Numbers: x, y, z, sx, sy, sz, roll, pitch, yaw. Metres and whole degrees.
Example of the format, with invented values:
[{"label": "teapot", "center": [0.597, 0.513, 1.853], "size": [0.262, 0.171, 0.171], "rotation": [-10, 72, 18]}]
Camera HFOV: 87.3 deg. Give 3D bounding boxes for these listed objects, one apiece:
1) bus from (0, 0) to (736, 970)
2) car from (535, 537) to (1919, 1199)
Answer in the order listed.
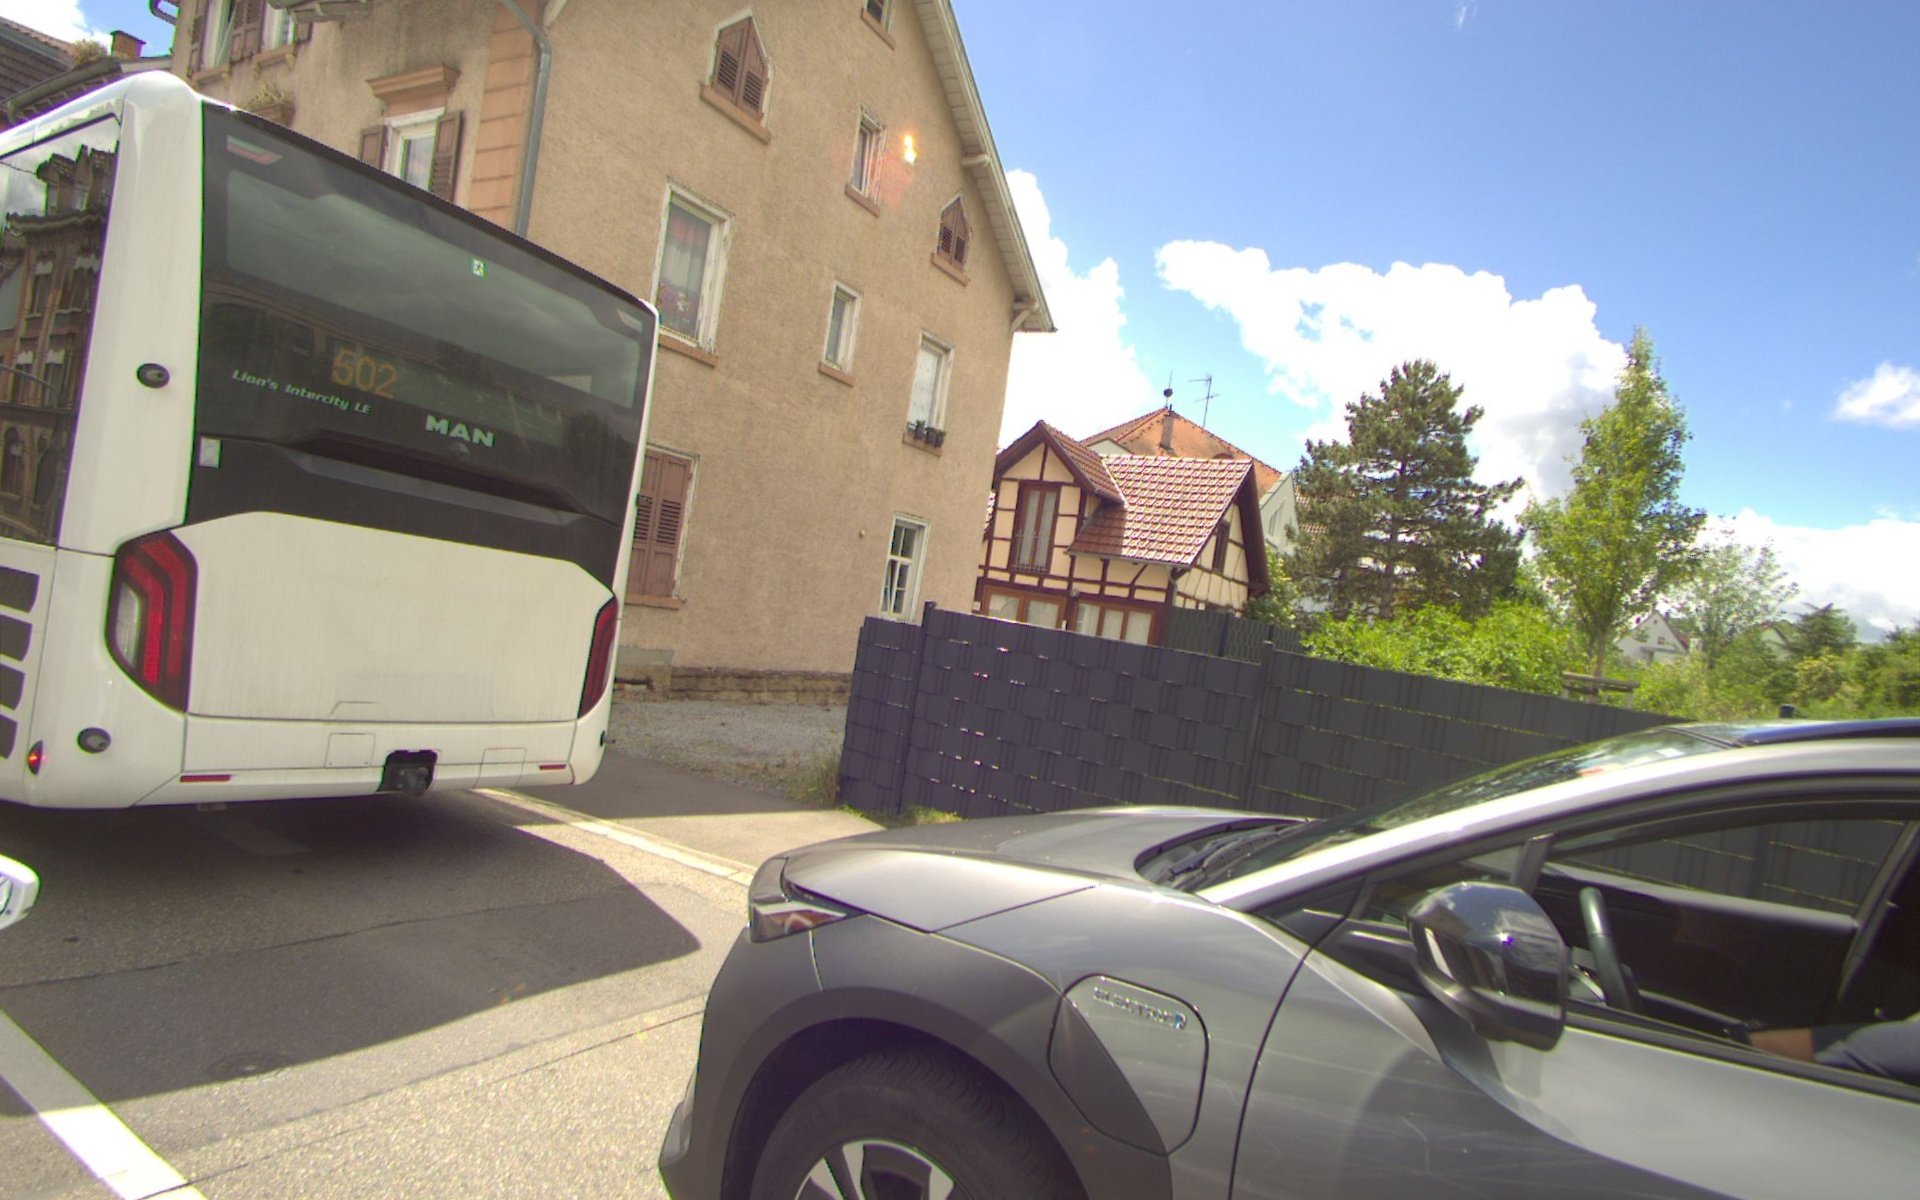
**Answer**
[{"label": "bus", "center": [-7.437, -0.954, 7.793], "size": [12.281, 3.551, 2.910], "rotation": [6, -2, 32]}, {"label": "car", "center": [1.575, 0.993, 1.847], "size": [4.504, 1.648, 1.997], "rotation": [7, -1, 31]}]
